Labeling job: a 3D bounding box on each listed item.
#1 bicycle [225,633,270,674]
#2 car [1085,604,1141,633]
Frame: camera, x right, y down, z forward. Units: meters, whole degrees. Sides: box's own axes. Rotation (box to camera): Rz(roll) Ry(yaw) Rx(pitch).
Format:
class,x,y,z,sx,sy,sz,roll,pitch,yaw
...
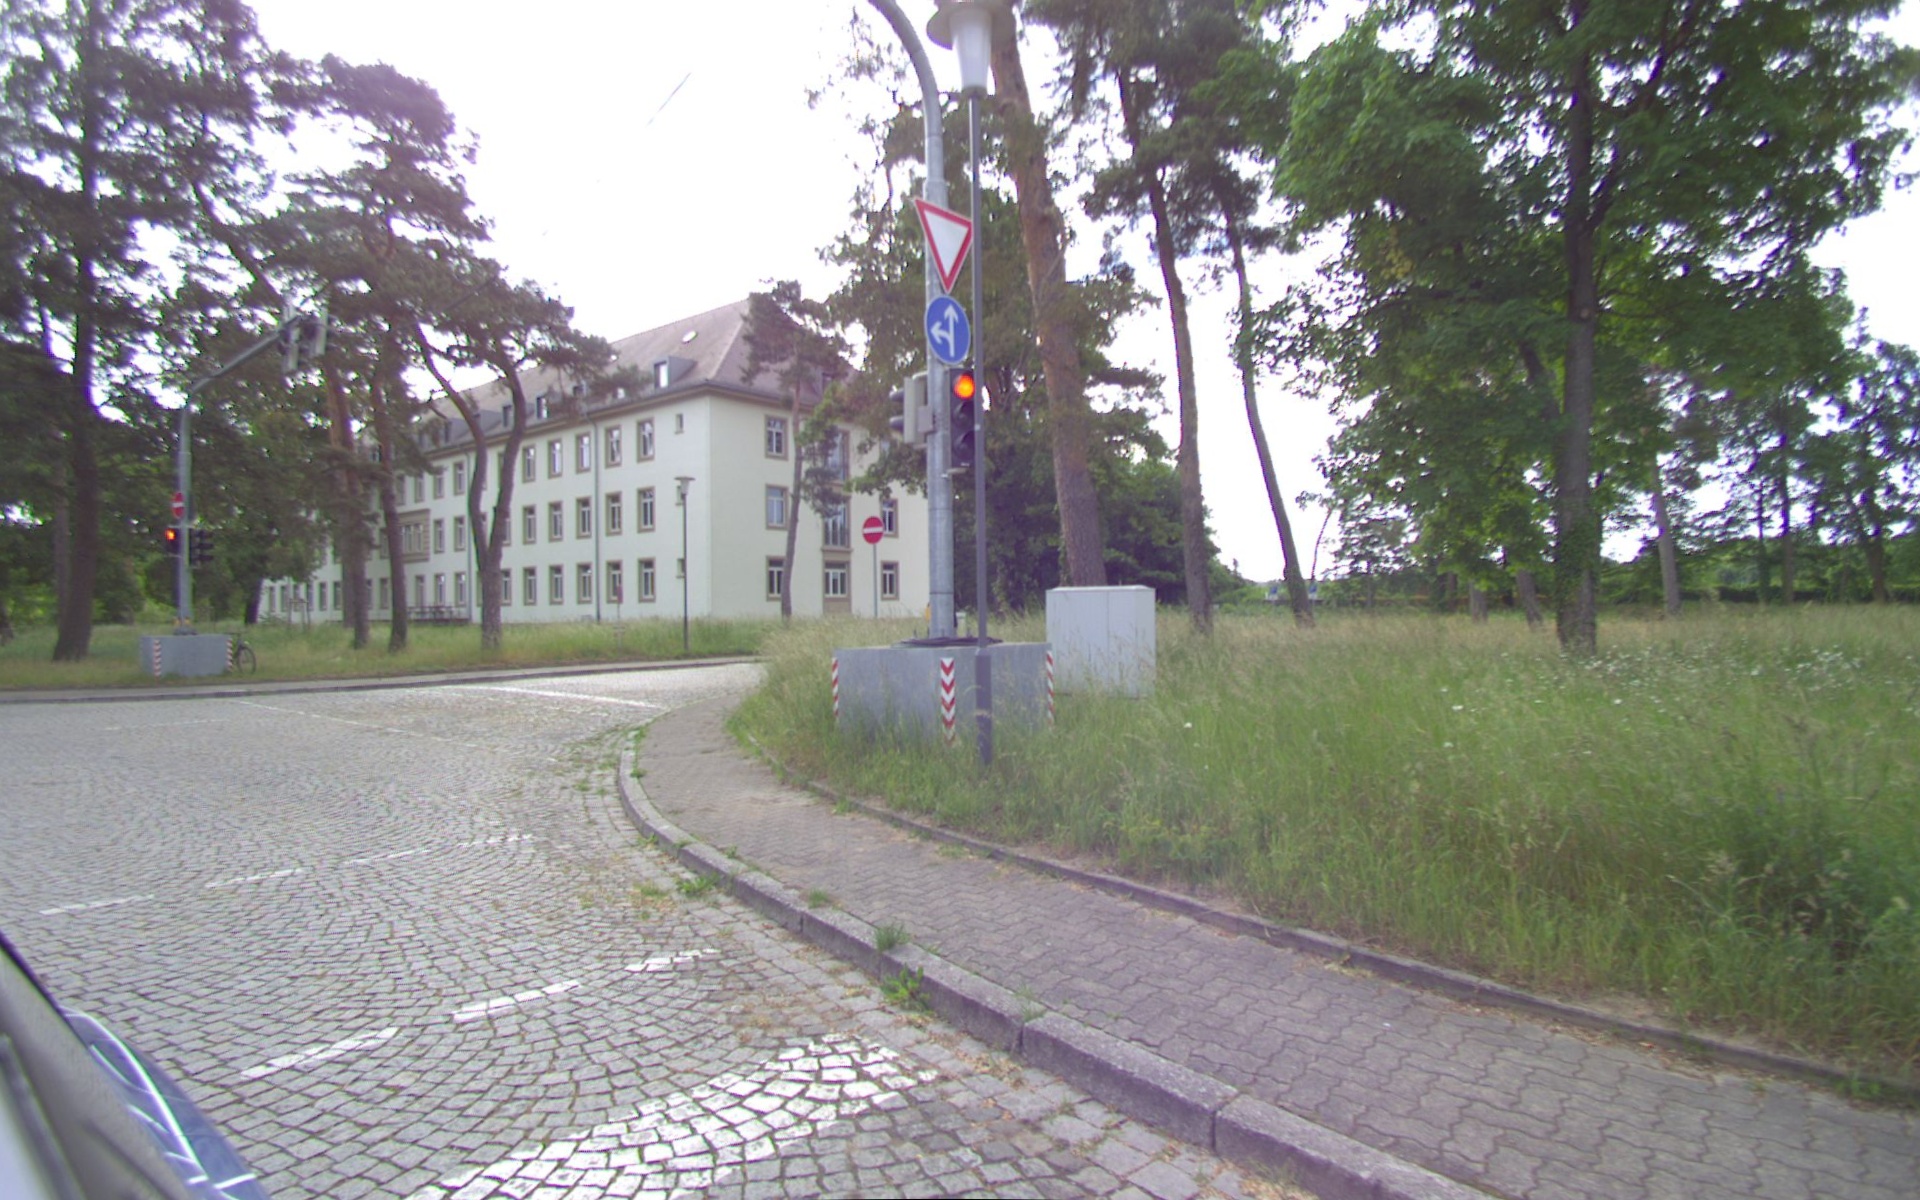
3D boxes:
class,x,y,z,sx,sy,sz,roll,pitch,yaw
bicycle,-16.542,1.239,23.490,1.045,0.923,0.292,-1,-1,18
car,10.012,1.200,65.883,1.722,1.820,3.945,-2,-1,42
